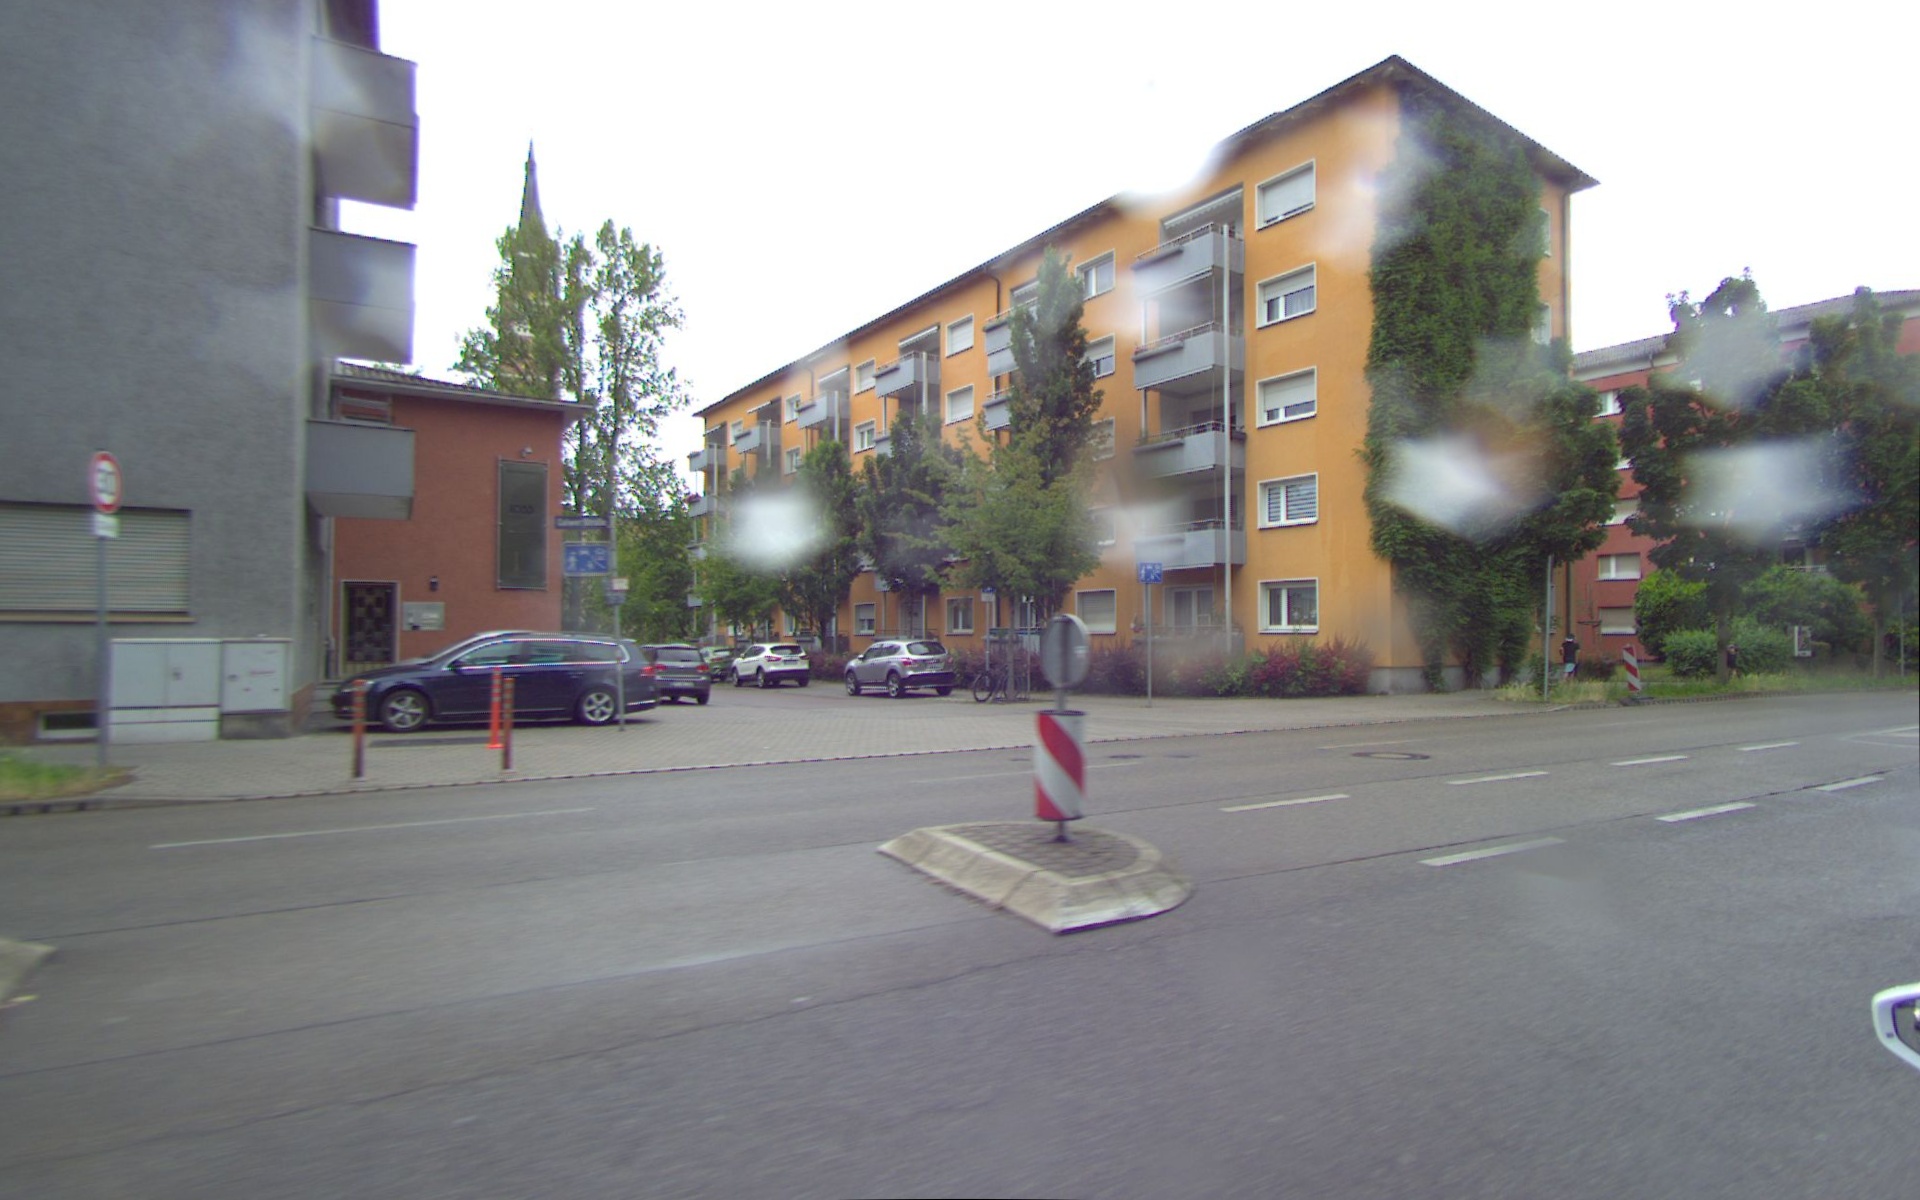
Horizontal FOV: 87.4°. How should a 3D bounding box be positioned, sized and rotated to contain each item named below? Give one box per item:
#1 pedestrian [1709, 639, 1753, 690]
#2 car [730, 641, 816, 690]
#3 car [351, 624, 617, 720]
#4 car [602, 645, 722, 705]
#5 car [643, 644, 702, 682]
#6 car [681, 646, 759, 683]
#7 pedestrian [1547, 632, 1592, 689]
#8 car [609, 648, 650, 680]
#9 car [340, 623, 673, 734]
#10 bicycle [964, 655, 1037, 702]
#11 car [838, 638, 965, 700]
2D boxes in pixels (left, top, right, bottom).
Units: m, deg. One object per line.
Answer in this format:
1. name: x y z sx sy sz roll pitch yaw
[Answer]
1. pedestrian: 23.748 1.987 30.941 1.057 1.537 0.689 1 -3 -30
2. car: -6.951 2.396 37.125 1.832 1.683 3.818 2 -3 -32
3. car: -8.554 1.271 18.188 4.181 1.545 1.721 2 -4 -31
4. car: -7.772 1.928 25.982 1.885 1.430 3.964 3 -5 -33
5. car: -13.743 2.999 47.883 1.766 1.737 3.672 2 -3 -32
6. car: -10.218 2.727 42.643 1.980 1.494 3.963 2 -3 -34
7. pedestrian: 16.153 1.598 26.633 0.826 1.468 0.668 1 -3 -29
8. car: -17.322 3.330 52.578 1.229 1.617 3.092 2 -3 -34
9. car: -7.128 1.193 15.982 4.583 1.505 1.841 2 -1 -31
10. bicycle: 0.991 1.883 24.258 1.920 1.072 0.526 2 -3 -40
11. car: -1.755 1.941 28.871 1.883 1.613 3.963 0 -2 -34
